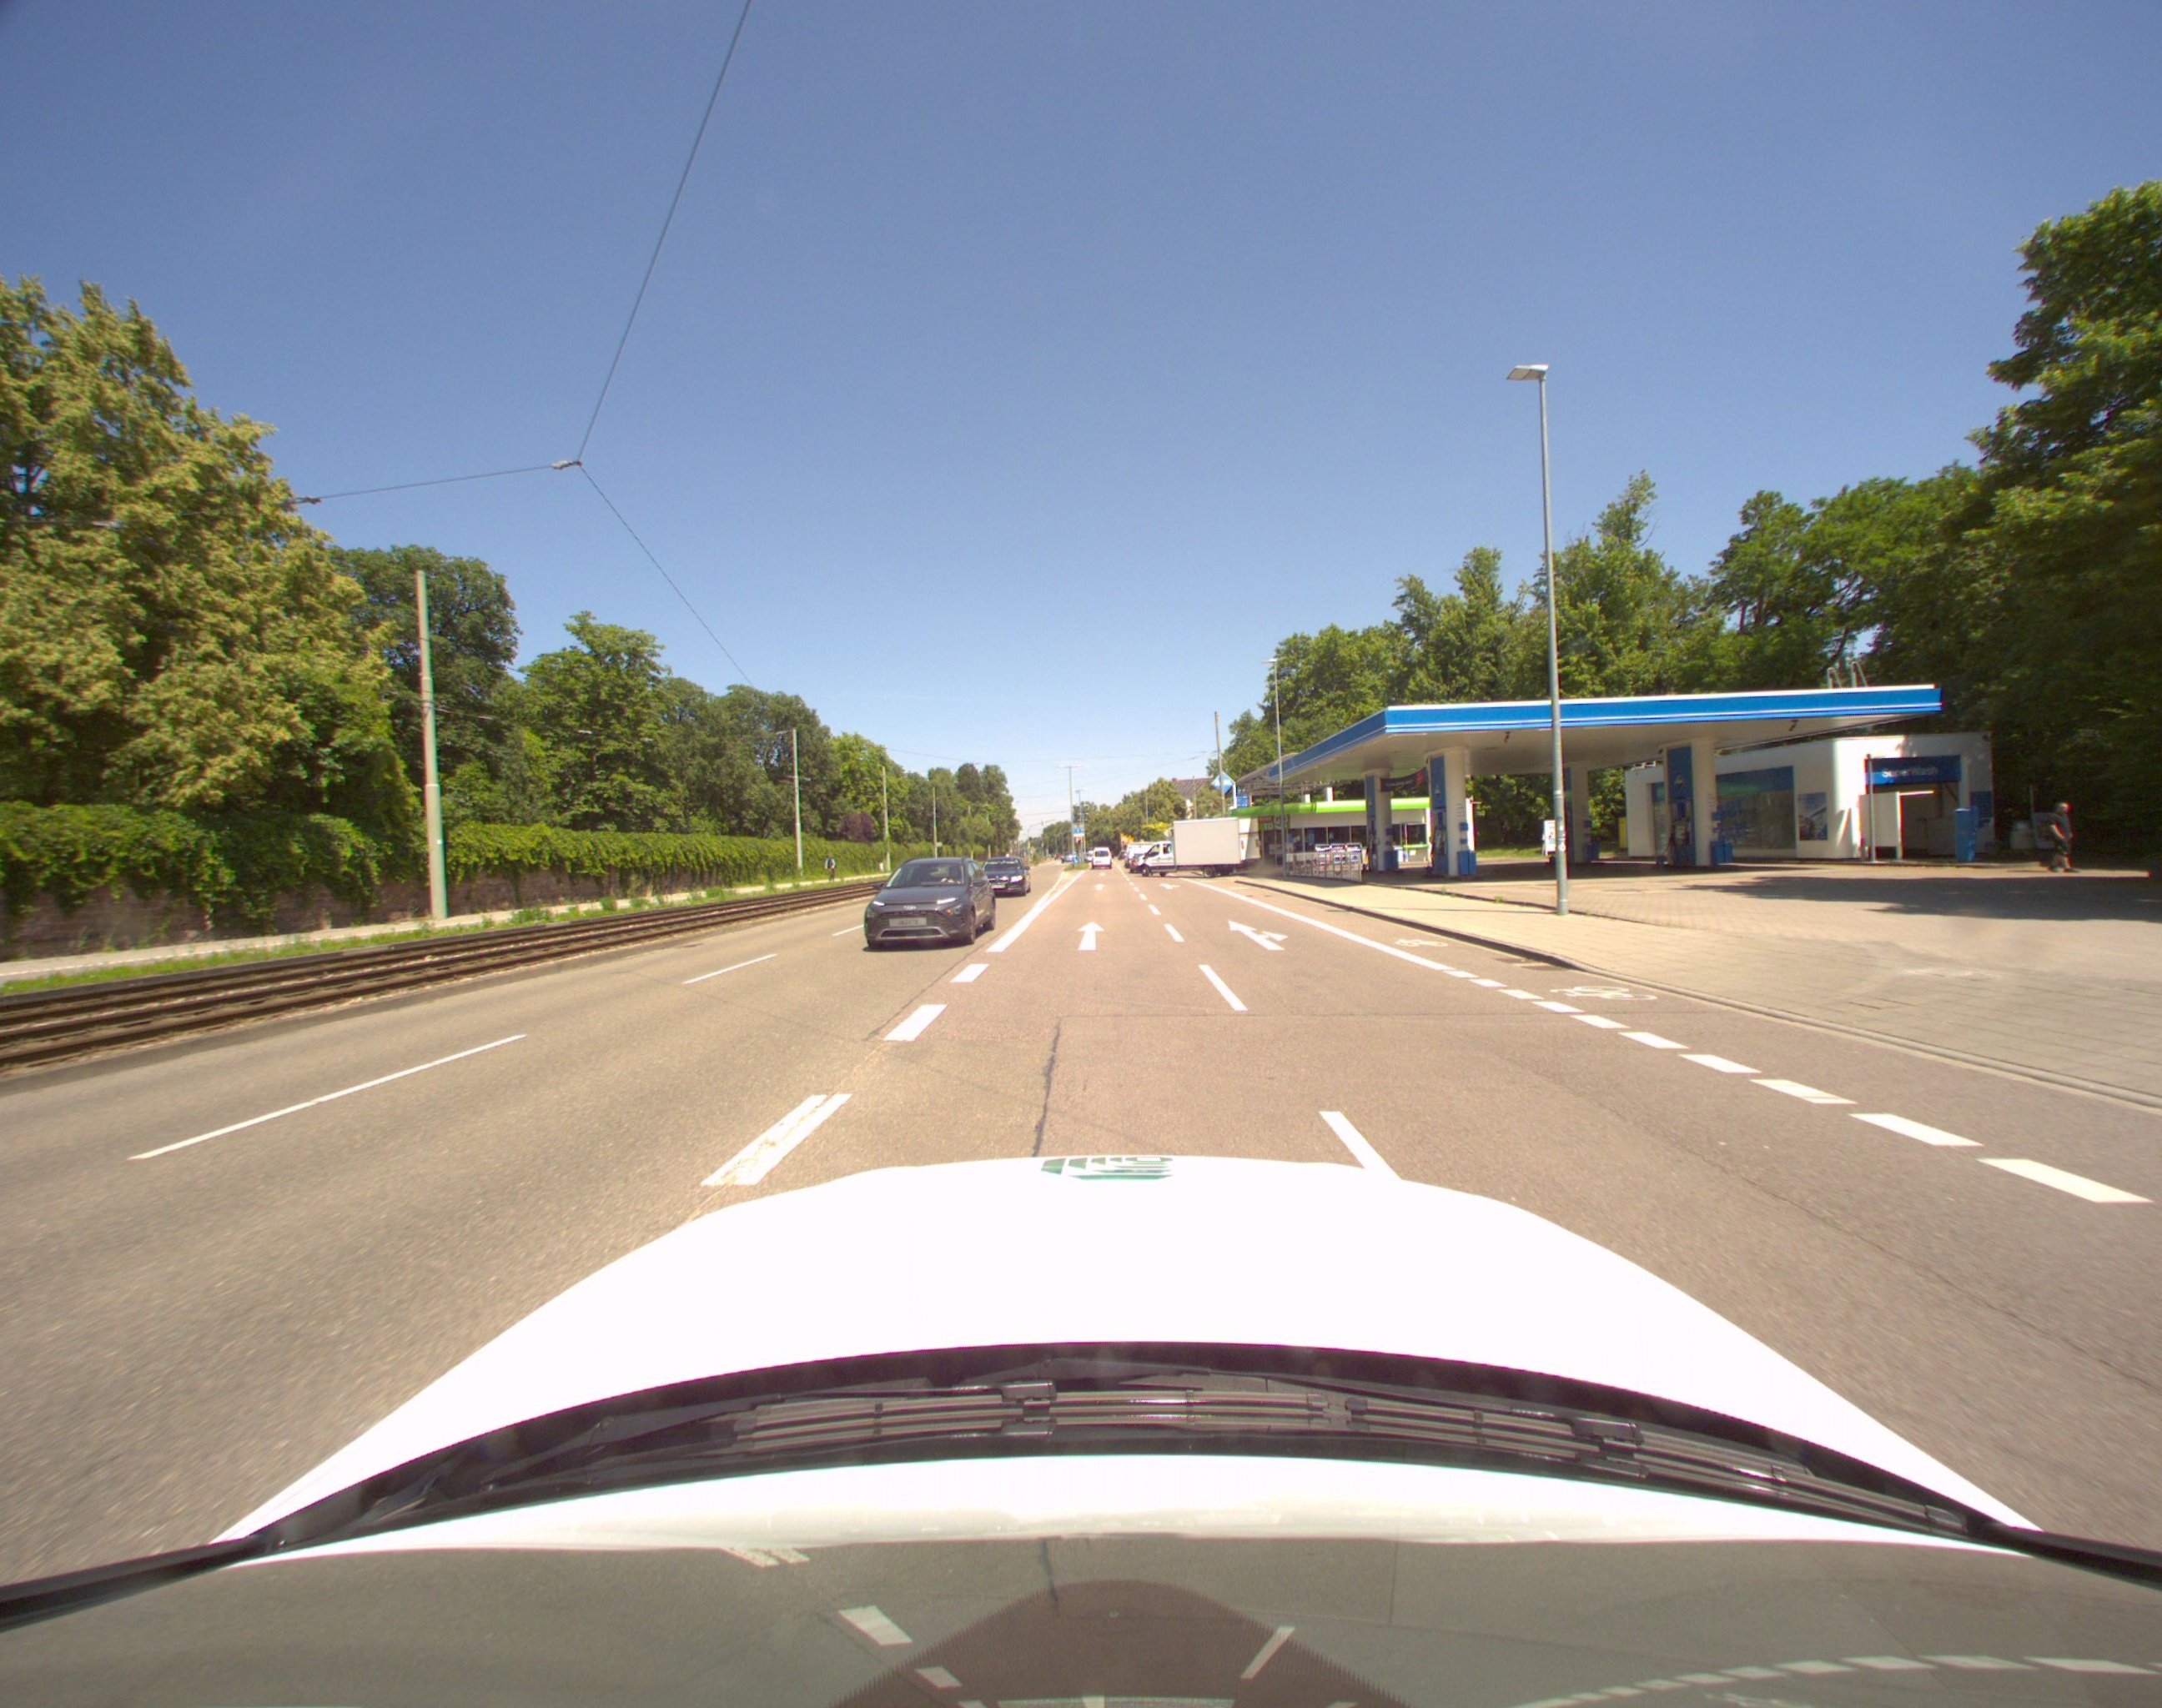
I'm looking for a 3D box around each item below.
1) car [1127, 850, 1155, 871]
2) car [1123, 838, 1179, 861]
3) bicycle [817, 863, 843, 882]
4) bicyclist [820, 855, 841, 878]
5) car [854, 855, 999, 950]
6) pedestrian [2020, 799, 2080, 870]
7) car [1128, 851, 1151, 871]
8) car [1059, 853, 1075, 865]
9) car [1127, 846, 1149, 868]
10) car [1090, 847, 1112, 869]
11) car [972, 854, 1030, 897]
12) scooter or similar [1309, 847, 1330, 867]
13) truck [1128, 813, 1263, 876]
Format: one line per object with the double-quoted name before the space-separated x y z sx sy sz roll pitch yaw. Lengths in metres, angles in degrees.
"car" 4.231 0.438 57.858 1.764 1.420 4.002 -2 0 2
"car" 8.505 -0.515 99.469 6.144 2.516 2.721 -2 0 26
"bicycle" -16.558 1.189 53.809 0.825 1.156 2.686 -2 0 1
"bicyclist" -16.564 0.838 53.911 0.991 1.486 1.000 -2 0 0
"car" -2.661 0.775 14.973 1.707 1.422 4.143 -2 0 2
"pedestrian" 26.609 -0.530 22.369 0.622 1.888 0.837 -2 1 1
"car" 4.503 0.498 62.978 1.600 1.451 3.523 -1 0 2
"car" -2.141 0.750 124.700 1.991 1.829 4.529 -2 0 -7
"car" 5.008 0.242 72.196 1.703 1.830 4.015 -2 0 2
"car" 1.758 0.314 71.357 1.860 1.836 3.849 -1 0 1
"car" -2.903 0.734 30.406 1.788 1.399 4.445 -2 0 -1
"scooter or similar" 14.327 0.166 48.952 1.131 1.176 0.384 -2 0 2
"truck" 6.644 -0.479 48.287 7.733 3.391 2.443 -2 0 41
